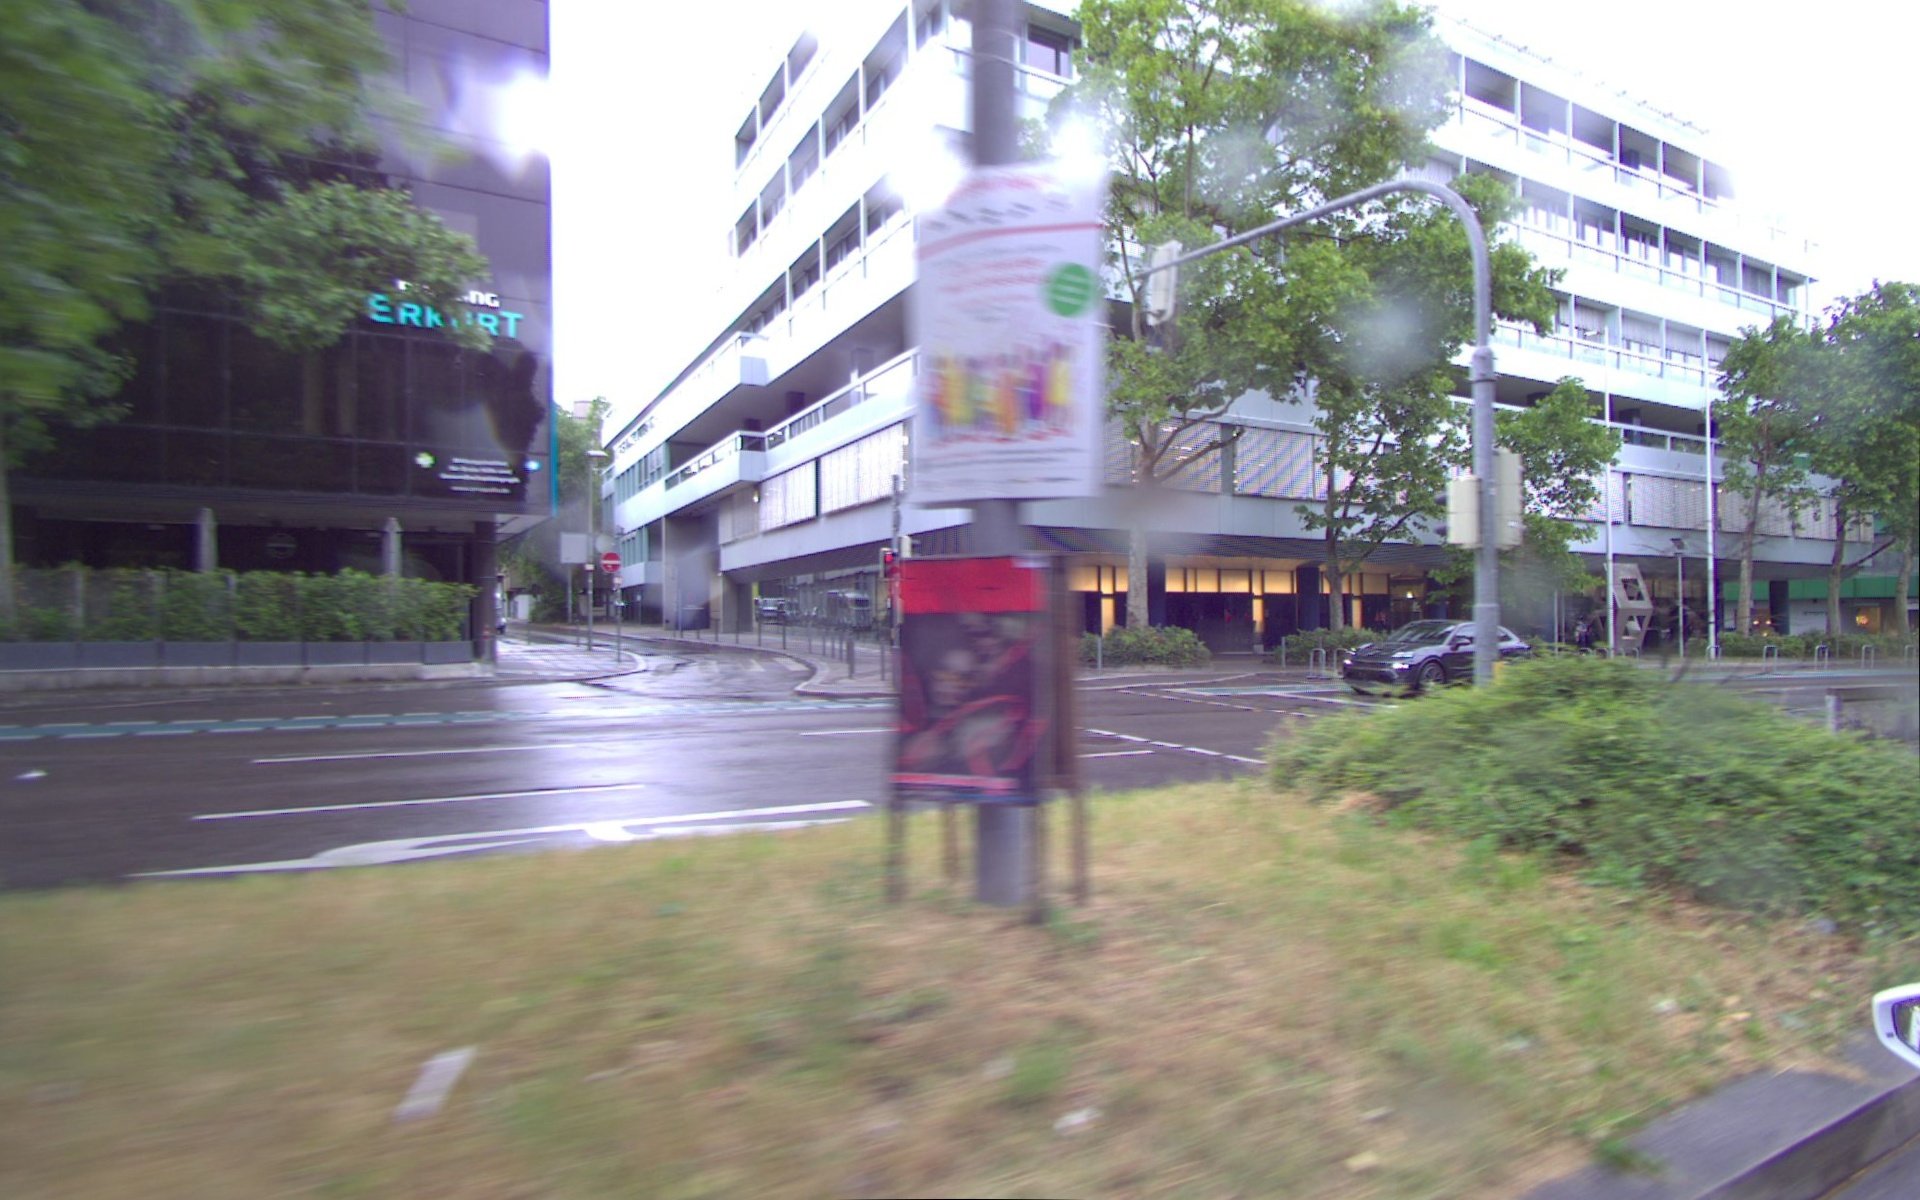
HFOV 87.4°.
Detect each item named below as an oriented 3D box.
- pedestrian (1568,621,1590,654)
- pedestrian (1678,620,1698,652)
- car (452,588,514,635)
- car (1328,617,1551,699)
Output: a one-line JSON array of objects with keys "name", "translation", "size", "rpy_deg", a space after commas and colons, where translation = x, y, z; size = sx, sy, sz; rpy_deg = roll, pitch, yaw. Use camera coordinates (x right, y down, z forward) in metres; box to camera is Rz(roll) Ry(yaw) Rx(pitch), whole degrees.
[{"name": "pedestrian", "translation": [26.865, 1.635, 43.606], "size": [0.469, 1.398, 0.634], "rpy_deg": [2, 0, -32]}, {"name": "pedestrian", "translation": [35.915, 1.777, 49.584], "size": [0.568, 1.502, 0.606], "rpy_deg": [2, 0, -32]}, {"name": "car", "translation": [-26.557, 0.591, 55.754], "size": [2.226, 2.354, 6.703], "rpy_deg": [2, 0, -33]}, {"name": "car", "translation": [10.534, 1.254, 22.034], "size": [4.684, 1.605, 1.903], "rpy_deg": [2, 0, -26]}]
